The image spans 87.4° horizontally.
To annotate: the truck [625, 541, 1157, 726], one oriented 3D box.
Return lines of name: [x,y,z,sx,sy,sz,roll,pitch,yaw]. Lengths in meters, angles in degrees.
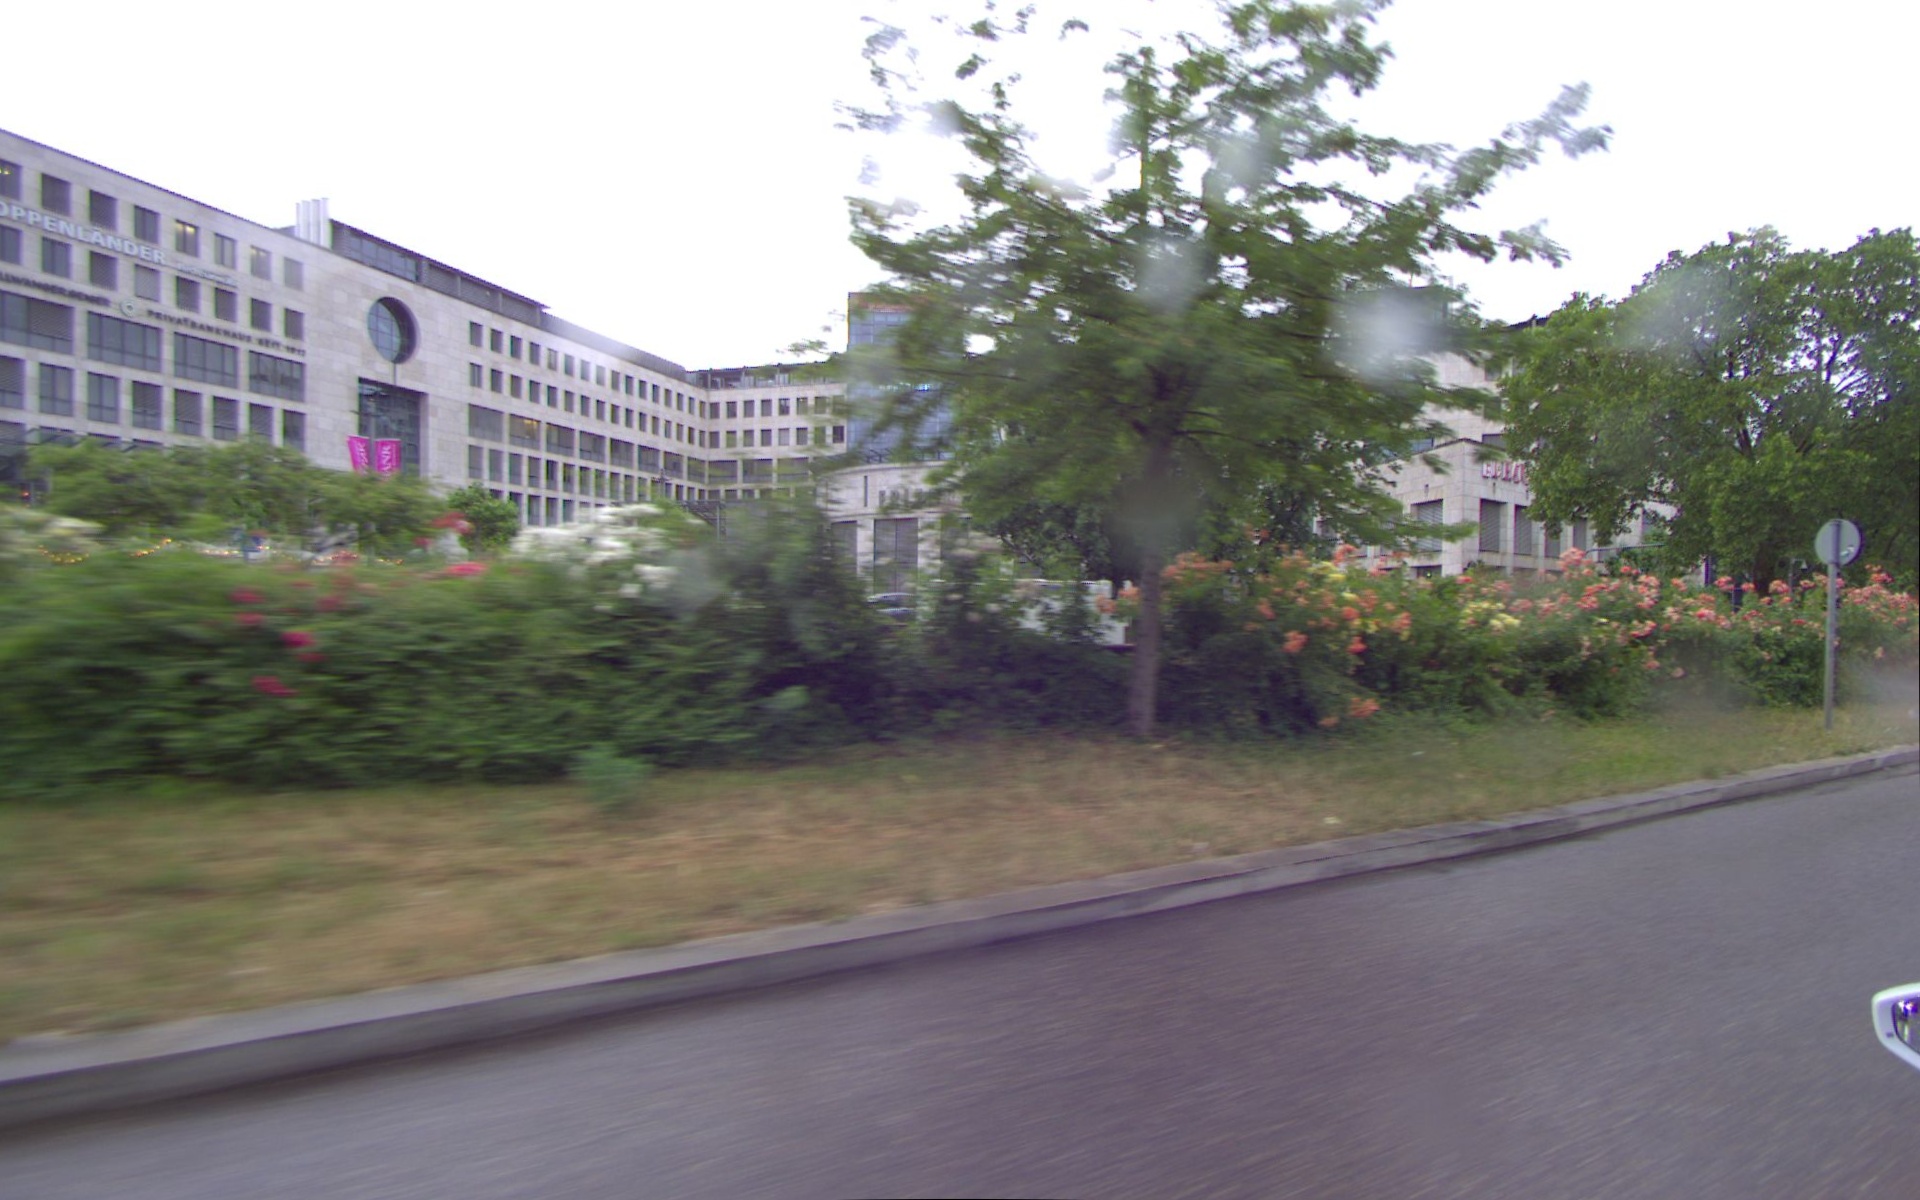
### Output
truck: [-1.110,0.567,17.057,8.361,2.544,3.357,2,0,-25]
